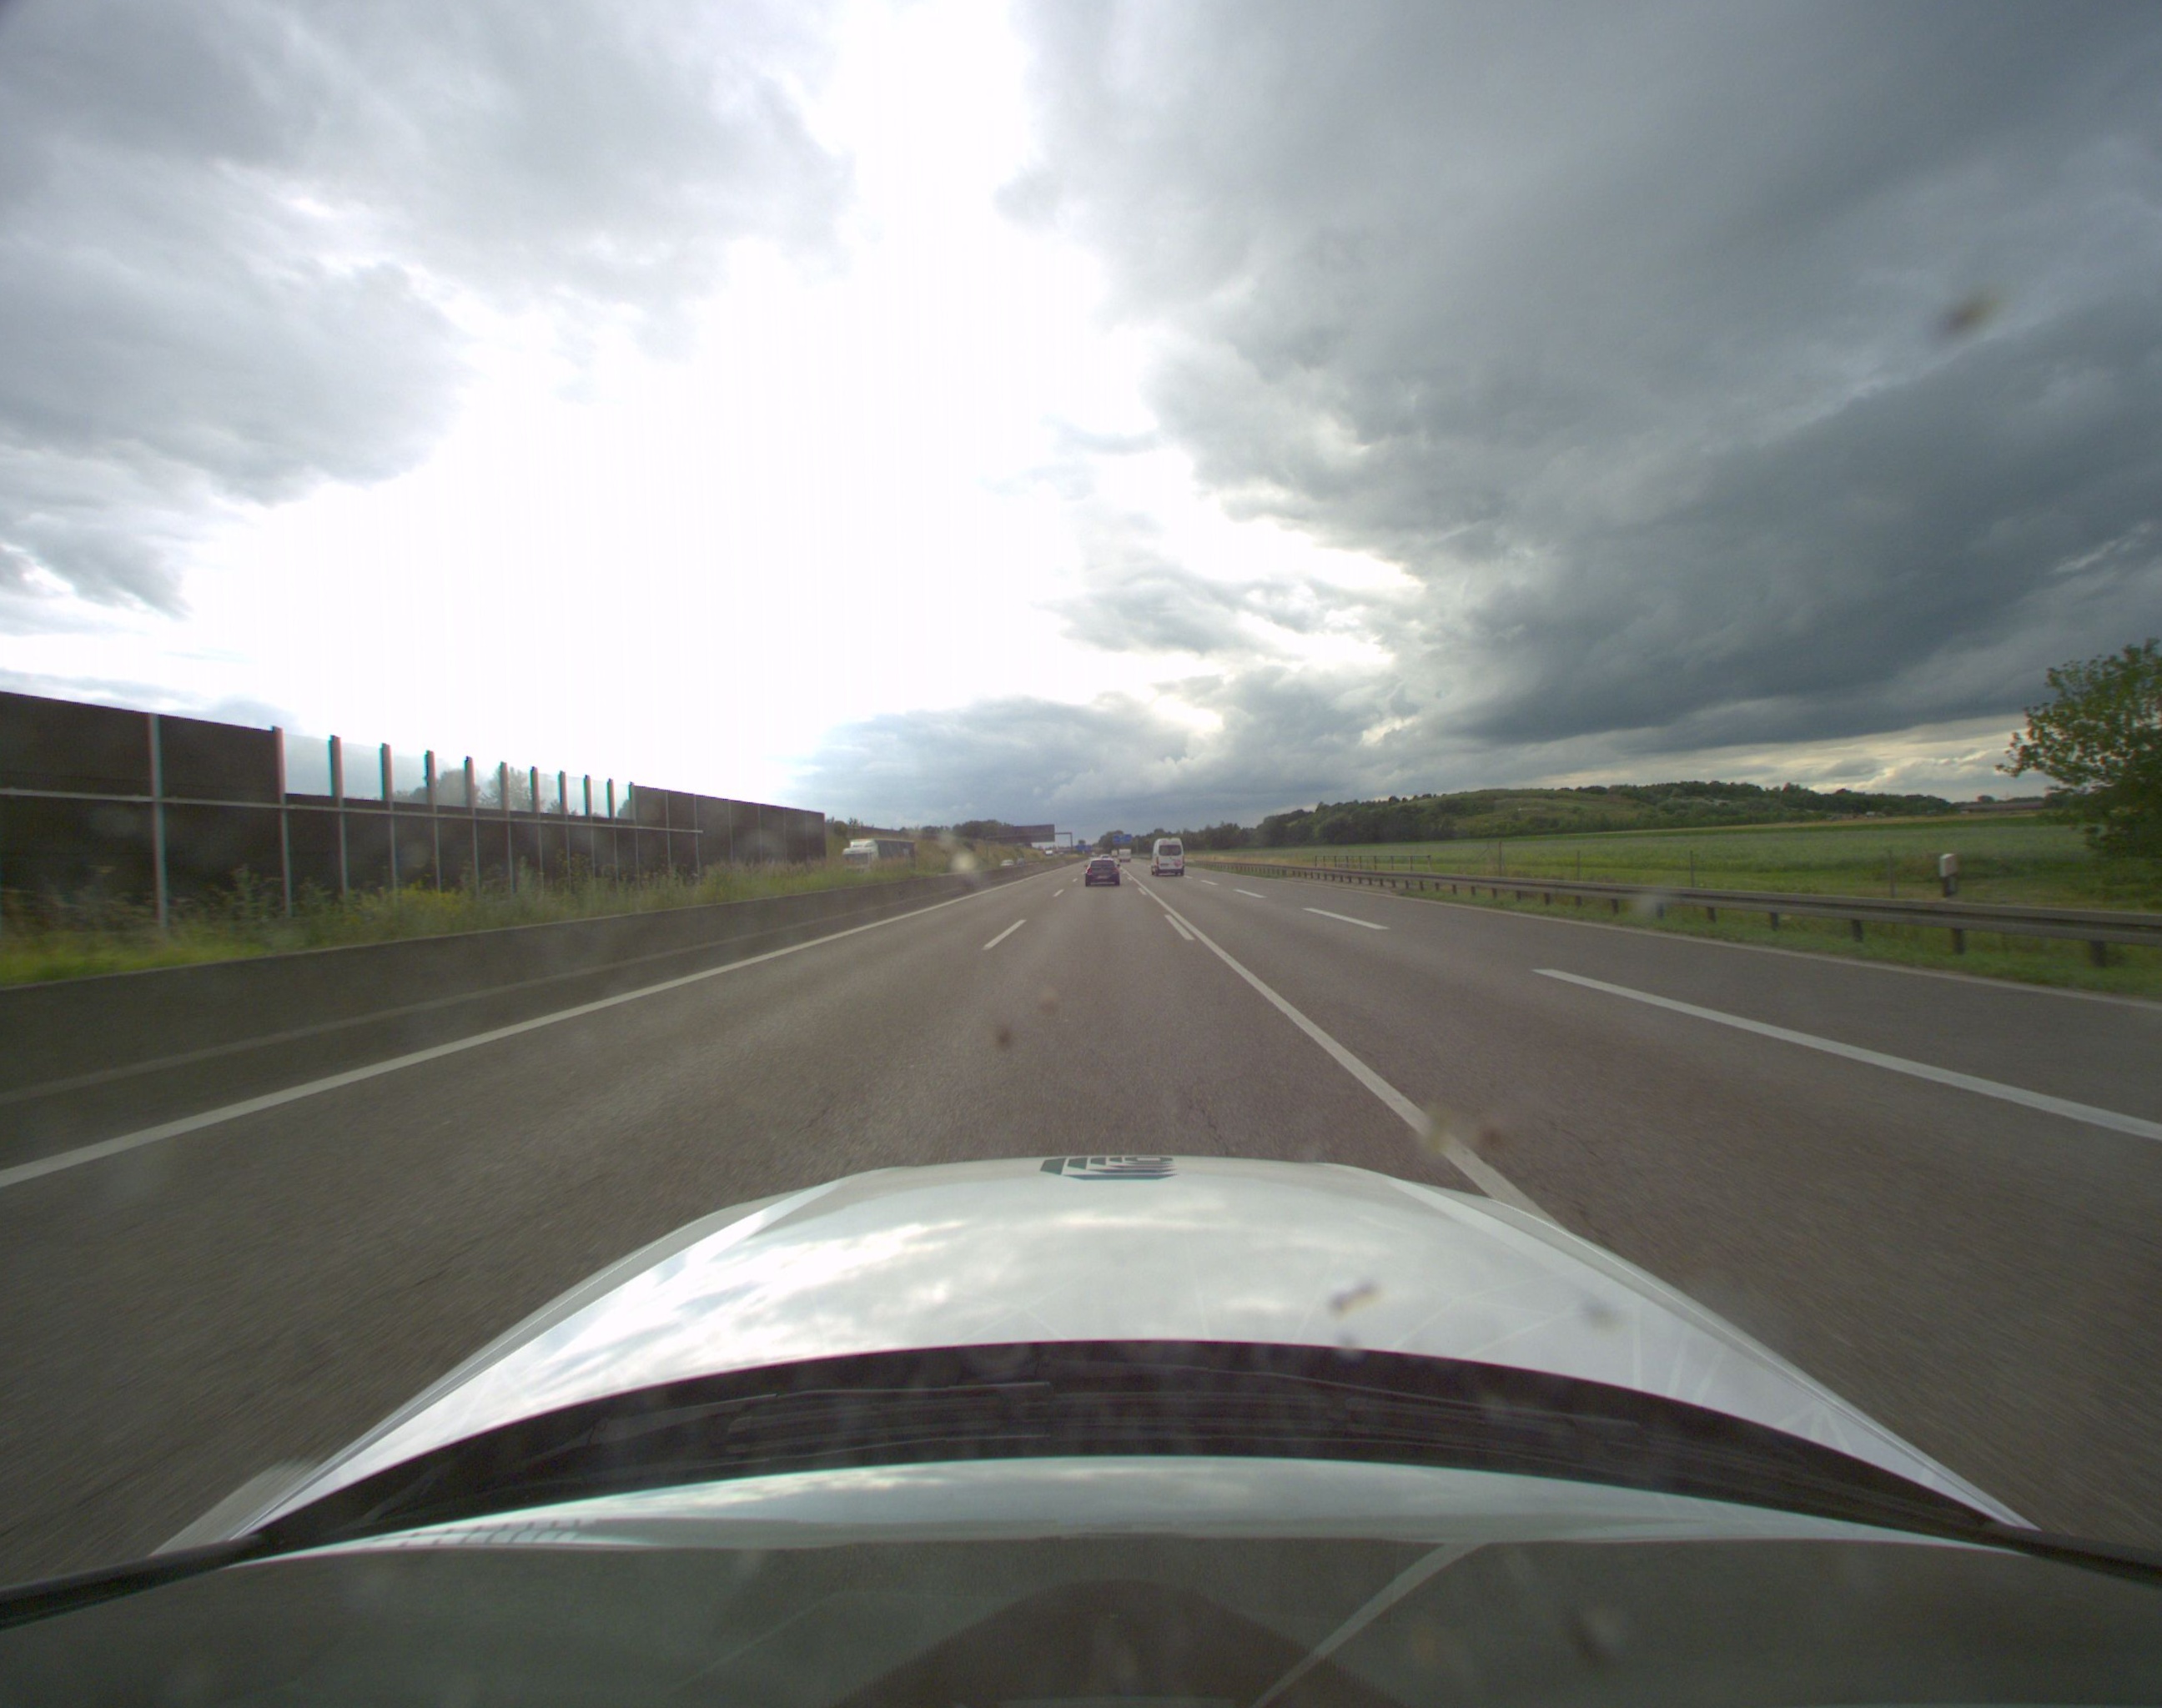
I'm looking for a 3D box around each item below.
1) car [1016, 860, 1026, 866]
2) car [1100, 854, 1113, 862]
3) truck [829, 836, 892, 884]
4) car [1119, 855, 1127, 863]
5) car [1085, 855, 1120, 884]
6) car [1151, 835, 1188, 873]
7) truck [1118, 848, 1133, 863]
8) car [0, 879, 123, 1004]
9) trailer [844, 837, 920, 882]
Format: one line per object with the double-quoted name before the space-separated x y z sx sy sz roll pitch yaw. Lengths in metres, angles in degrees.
"car" -13.984 2.069 189.716 1.986 1.364 4.942 -1 0 1
"car" 3.996 0.637 129.777 1.986 1.298 4.001 -3 0 1
"truck" -18.946 0.477 70.423 3.654 3.948 6.016 -1 0 2
"car" 11.312 1.355 221.717 1.986 2.013 4.001 -2 0 1
"car" 1.121 0.762 42.489 1.737 1.389 4.002 -1 0 2
"car" 6.370 0.021 59.254 2.213 2.568 6.259 -2 0 2
"truck" 8.968 0.267 165.604 2.700 2.964 12.451 -1 0 2
"car" -16.591 1.341 10.920 1.720 1.750 4.724 -3 0 2
"trailer" -18.674 0.487 77.759 3.657 3.980 12.684 -1 0 2
